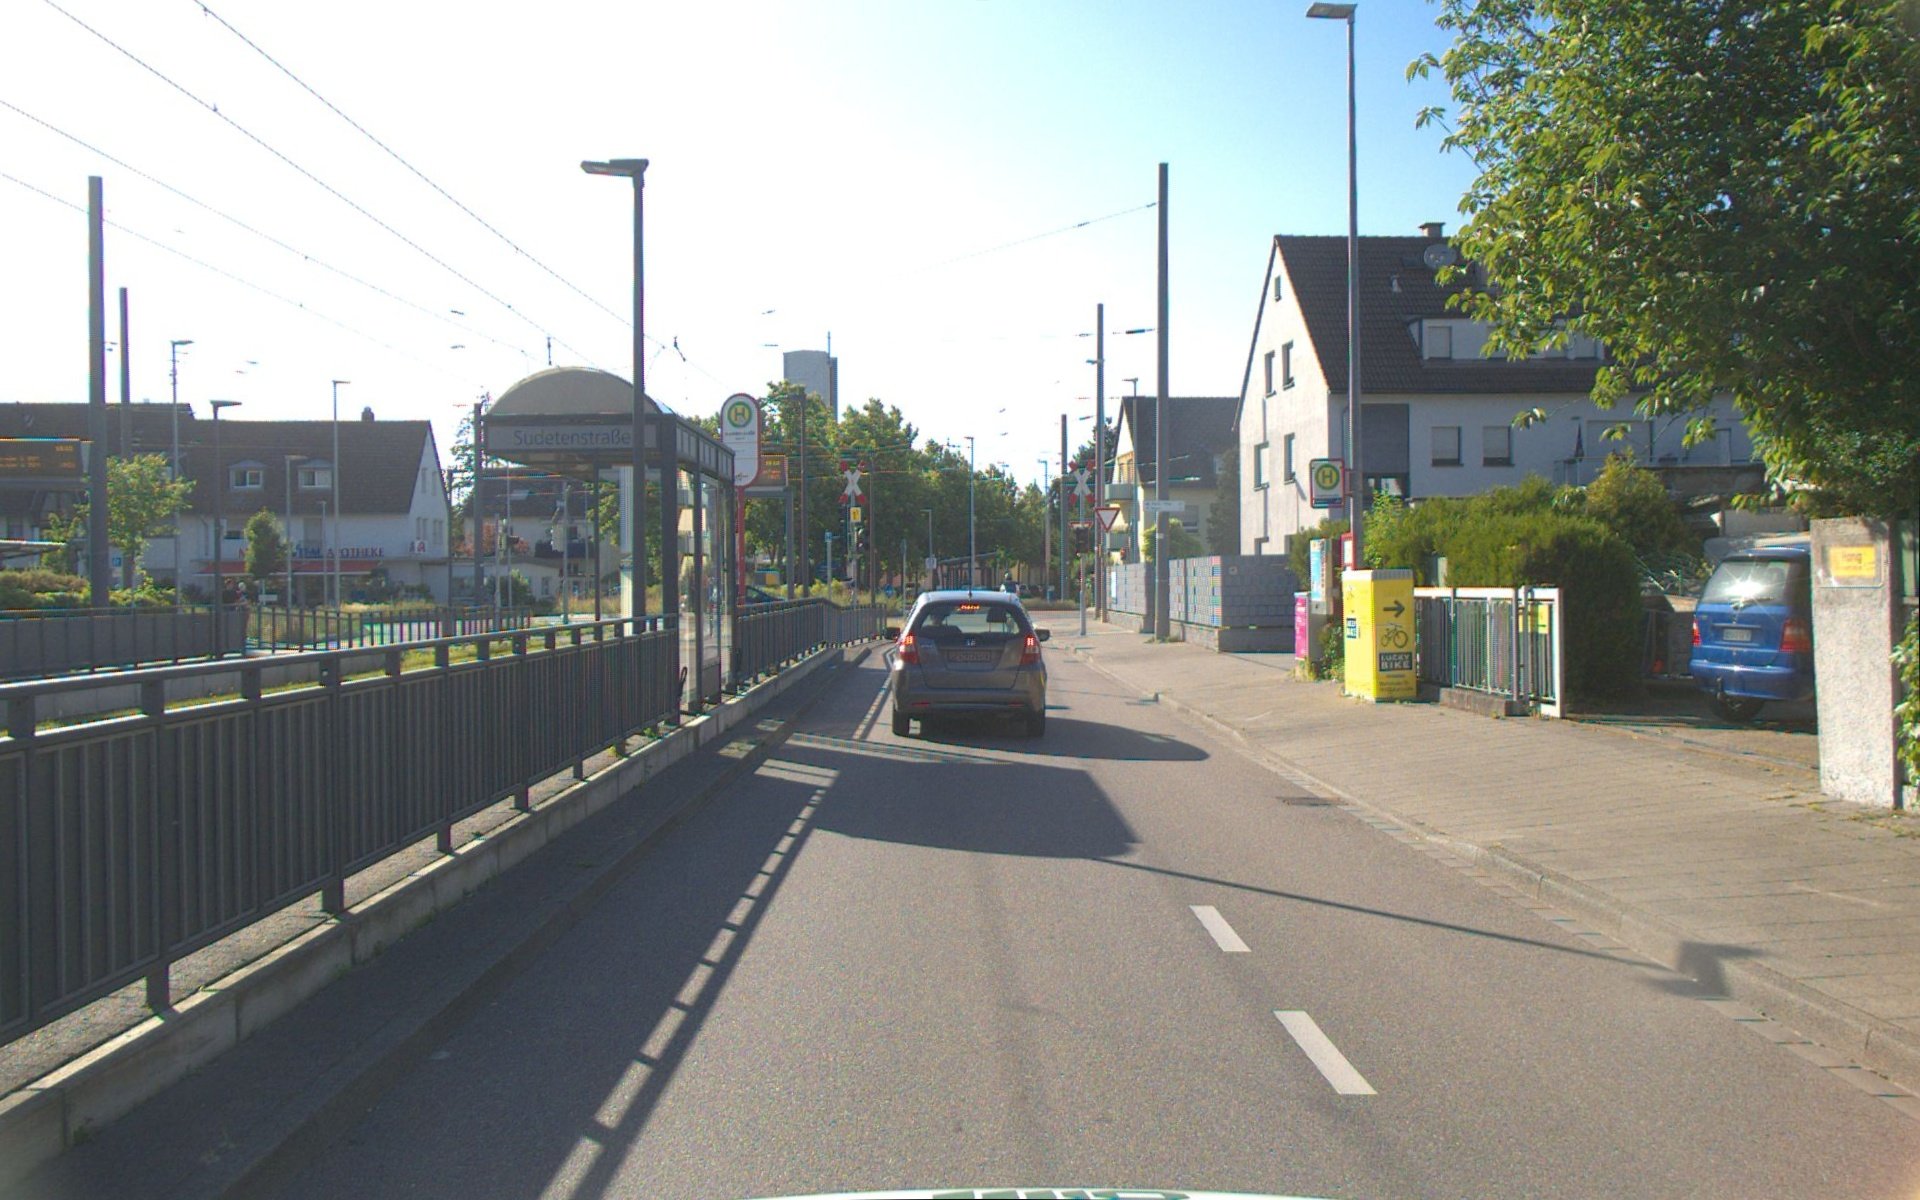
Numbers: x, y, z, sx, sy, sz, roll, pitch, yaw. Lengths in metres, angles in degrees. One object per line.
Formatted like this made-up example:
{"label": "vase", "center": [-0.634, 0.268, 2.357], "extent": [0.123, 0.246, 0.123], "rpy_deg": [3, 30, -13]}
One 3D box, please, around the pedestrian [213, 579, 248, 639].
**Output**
{"label": "pedestrian", "center": [-21.927, 0.260, 49.733], "extent": [0.714, 1.792, 0.772], "rpy_deg": [-1, 0, -3]}

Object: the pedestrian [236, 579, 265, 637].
{"label": "pedestrian", "center": [-21.906, 0.251, 51.099], "extent": [0.581, 1.763, 0.689], "rpy_deg": [-1, 0, -3]}

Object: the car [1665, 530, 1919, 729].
{"label": "car", "center": [8.509, 0.185, 14.785], "extent": [3.693, 1.597, 1.747], "rpy_deg": [-2, 0, -11]}

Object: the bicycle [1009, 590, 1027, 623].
{"label": "bicycle", "center": [1.744, 0.202, 49.729], "extent": [0.465, 0.978, 1.657], "rpy_deg": [1, 0, 0]}

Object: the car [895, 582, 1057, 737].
{"label": "car", "center": [0.128, 0.593, 18.644], "extent": [1.636, 1.562, 3.486], "rpy_deg": [1, 0, -1]}

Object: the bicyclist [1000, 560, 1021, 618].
{"label": "bicyclist", "center": [1.519, -0.326, 49.684], "extent": [0.586, 1.731, 0.683], "rpy_deg": [1, 0, -1]}

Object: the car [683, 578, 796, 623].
{"label": "car", "center": [-7.989, 0.017, 60.166], "extent": [3.906, 1.556, 1.807], "rpy_deg": [1, 0, -2]}
